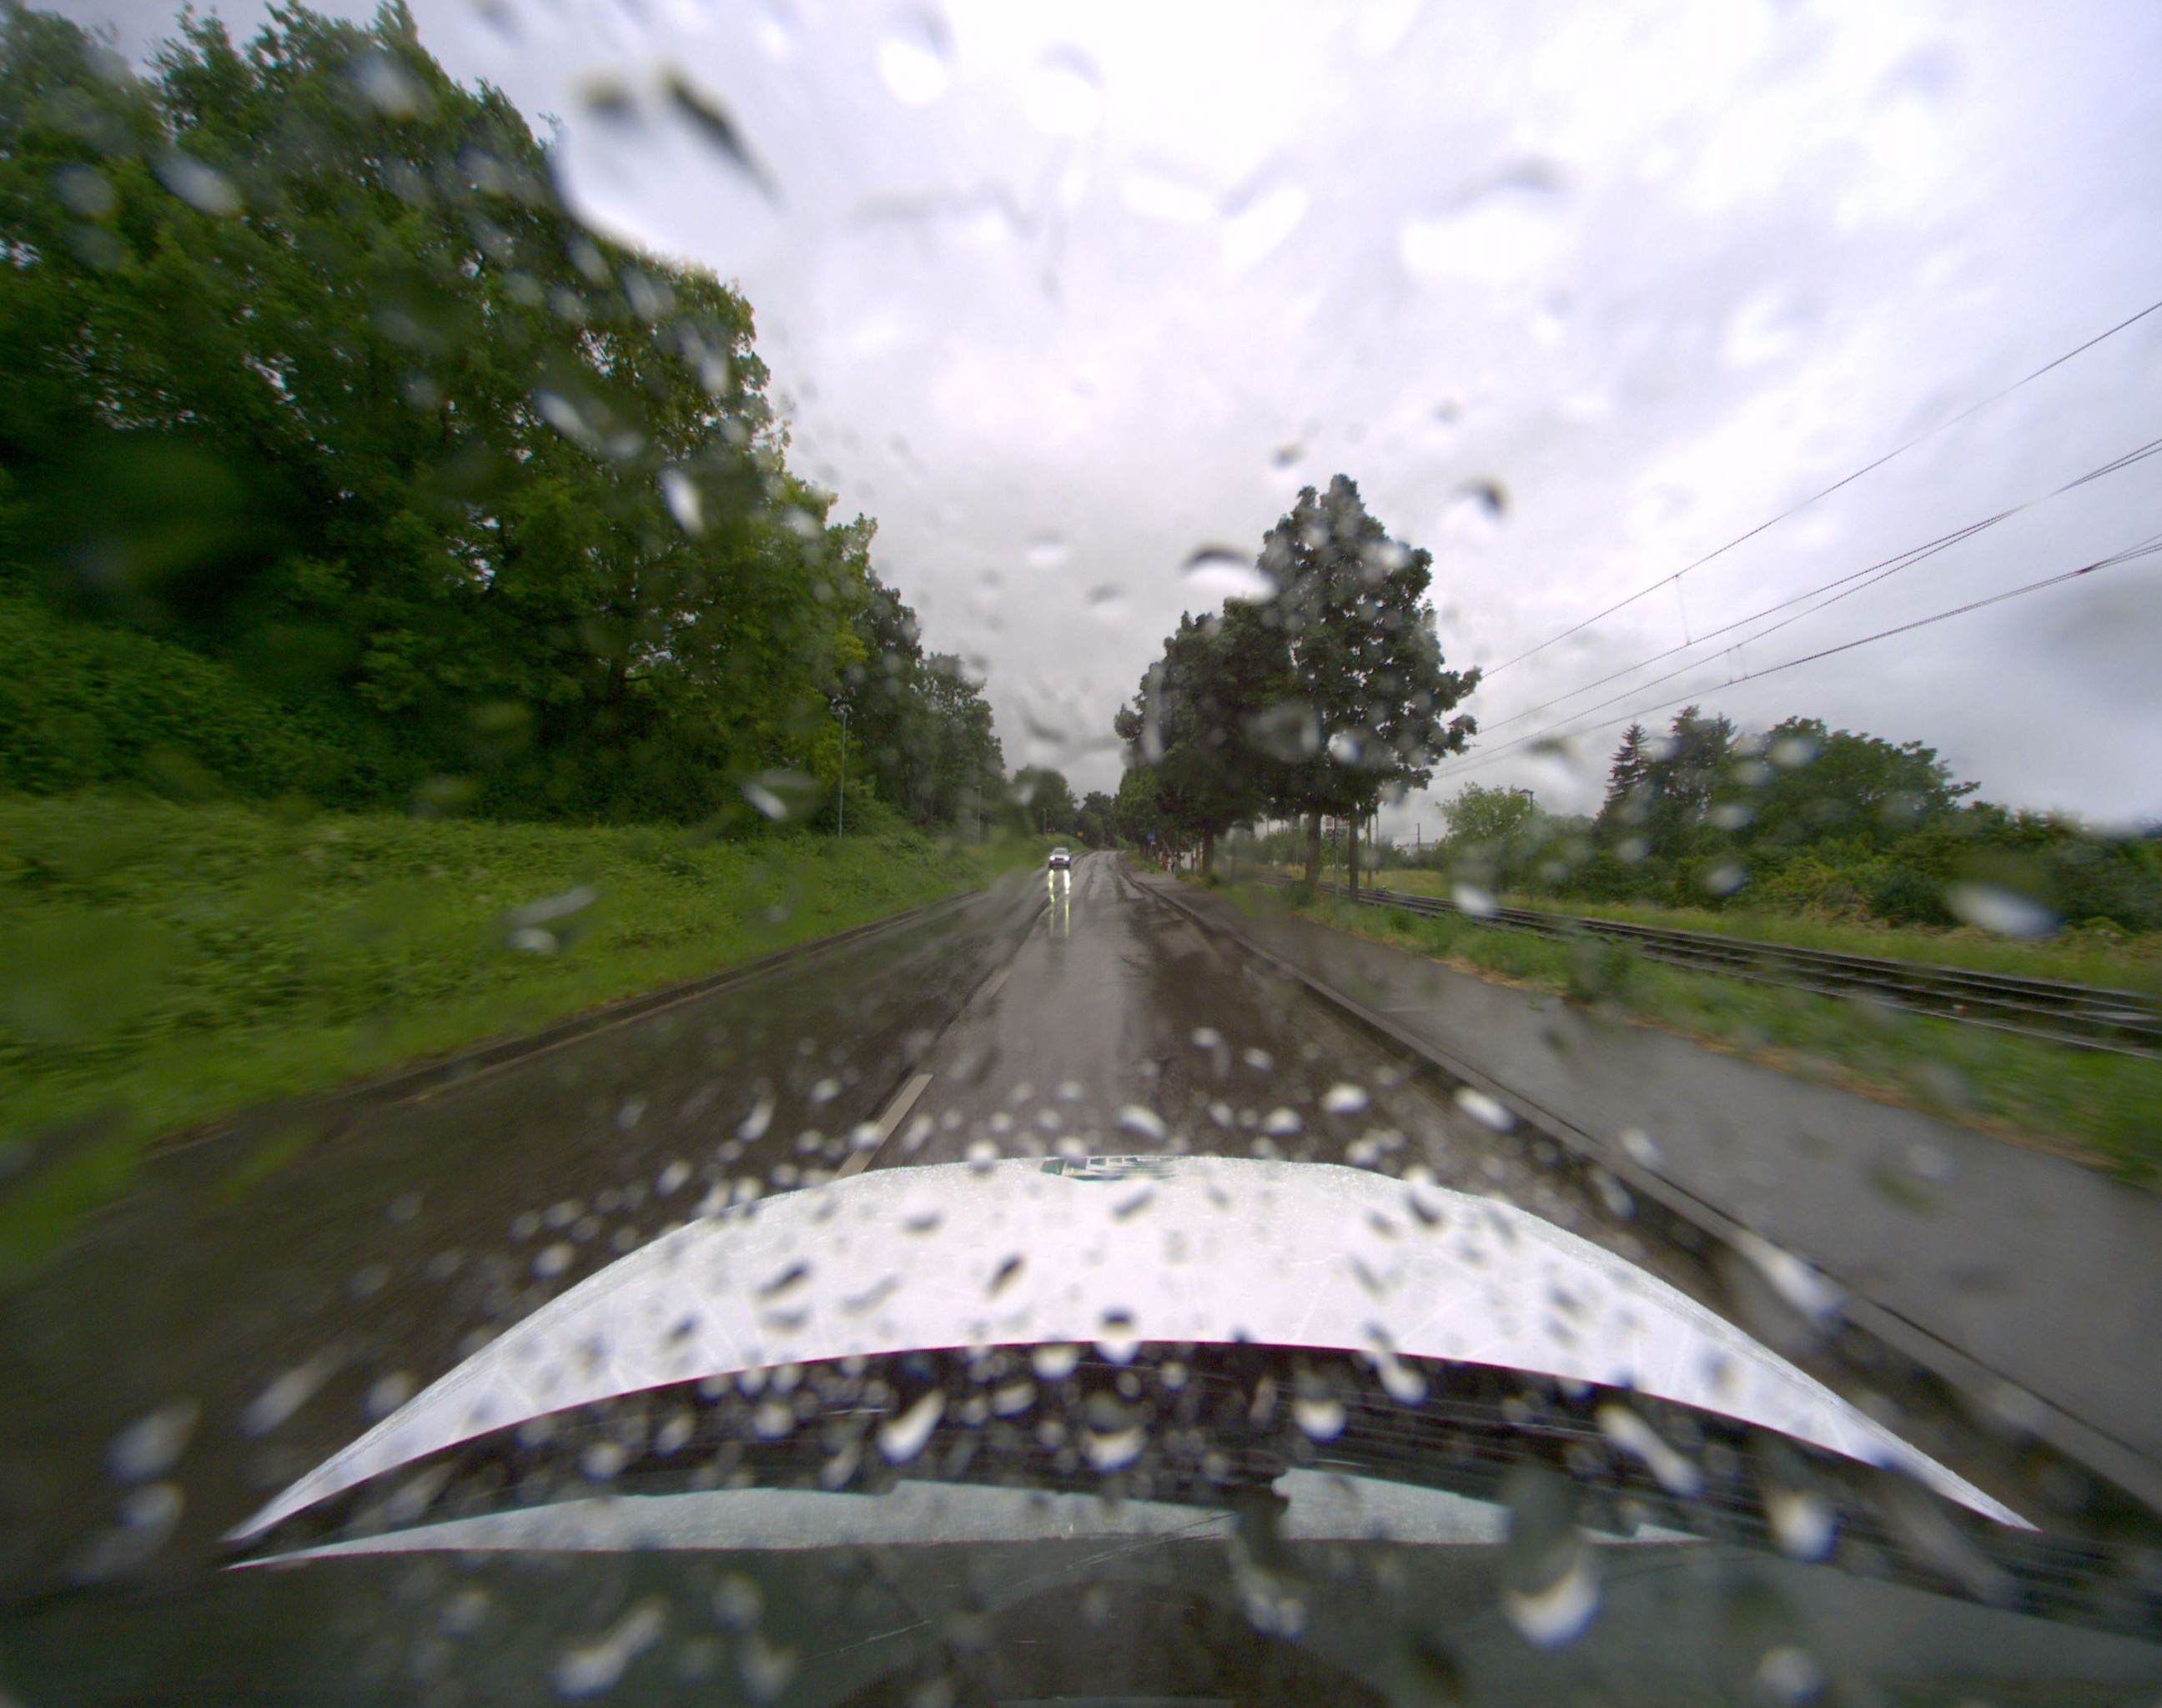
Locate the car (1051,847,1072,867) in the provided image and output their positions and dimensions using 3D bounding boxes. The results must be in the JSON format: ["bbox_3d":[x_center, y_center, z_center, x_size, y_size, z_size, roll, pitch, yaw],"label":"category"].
[{"bbox_3d":[-1.690,0.229,70.795,1.739,1.612,4.087,1,1,0],"label":"car"}]
